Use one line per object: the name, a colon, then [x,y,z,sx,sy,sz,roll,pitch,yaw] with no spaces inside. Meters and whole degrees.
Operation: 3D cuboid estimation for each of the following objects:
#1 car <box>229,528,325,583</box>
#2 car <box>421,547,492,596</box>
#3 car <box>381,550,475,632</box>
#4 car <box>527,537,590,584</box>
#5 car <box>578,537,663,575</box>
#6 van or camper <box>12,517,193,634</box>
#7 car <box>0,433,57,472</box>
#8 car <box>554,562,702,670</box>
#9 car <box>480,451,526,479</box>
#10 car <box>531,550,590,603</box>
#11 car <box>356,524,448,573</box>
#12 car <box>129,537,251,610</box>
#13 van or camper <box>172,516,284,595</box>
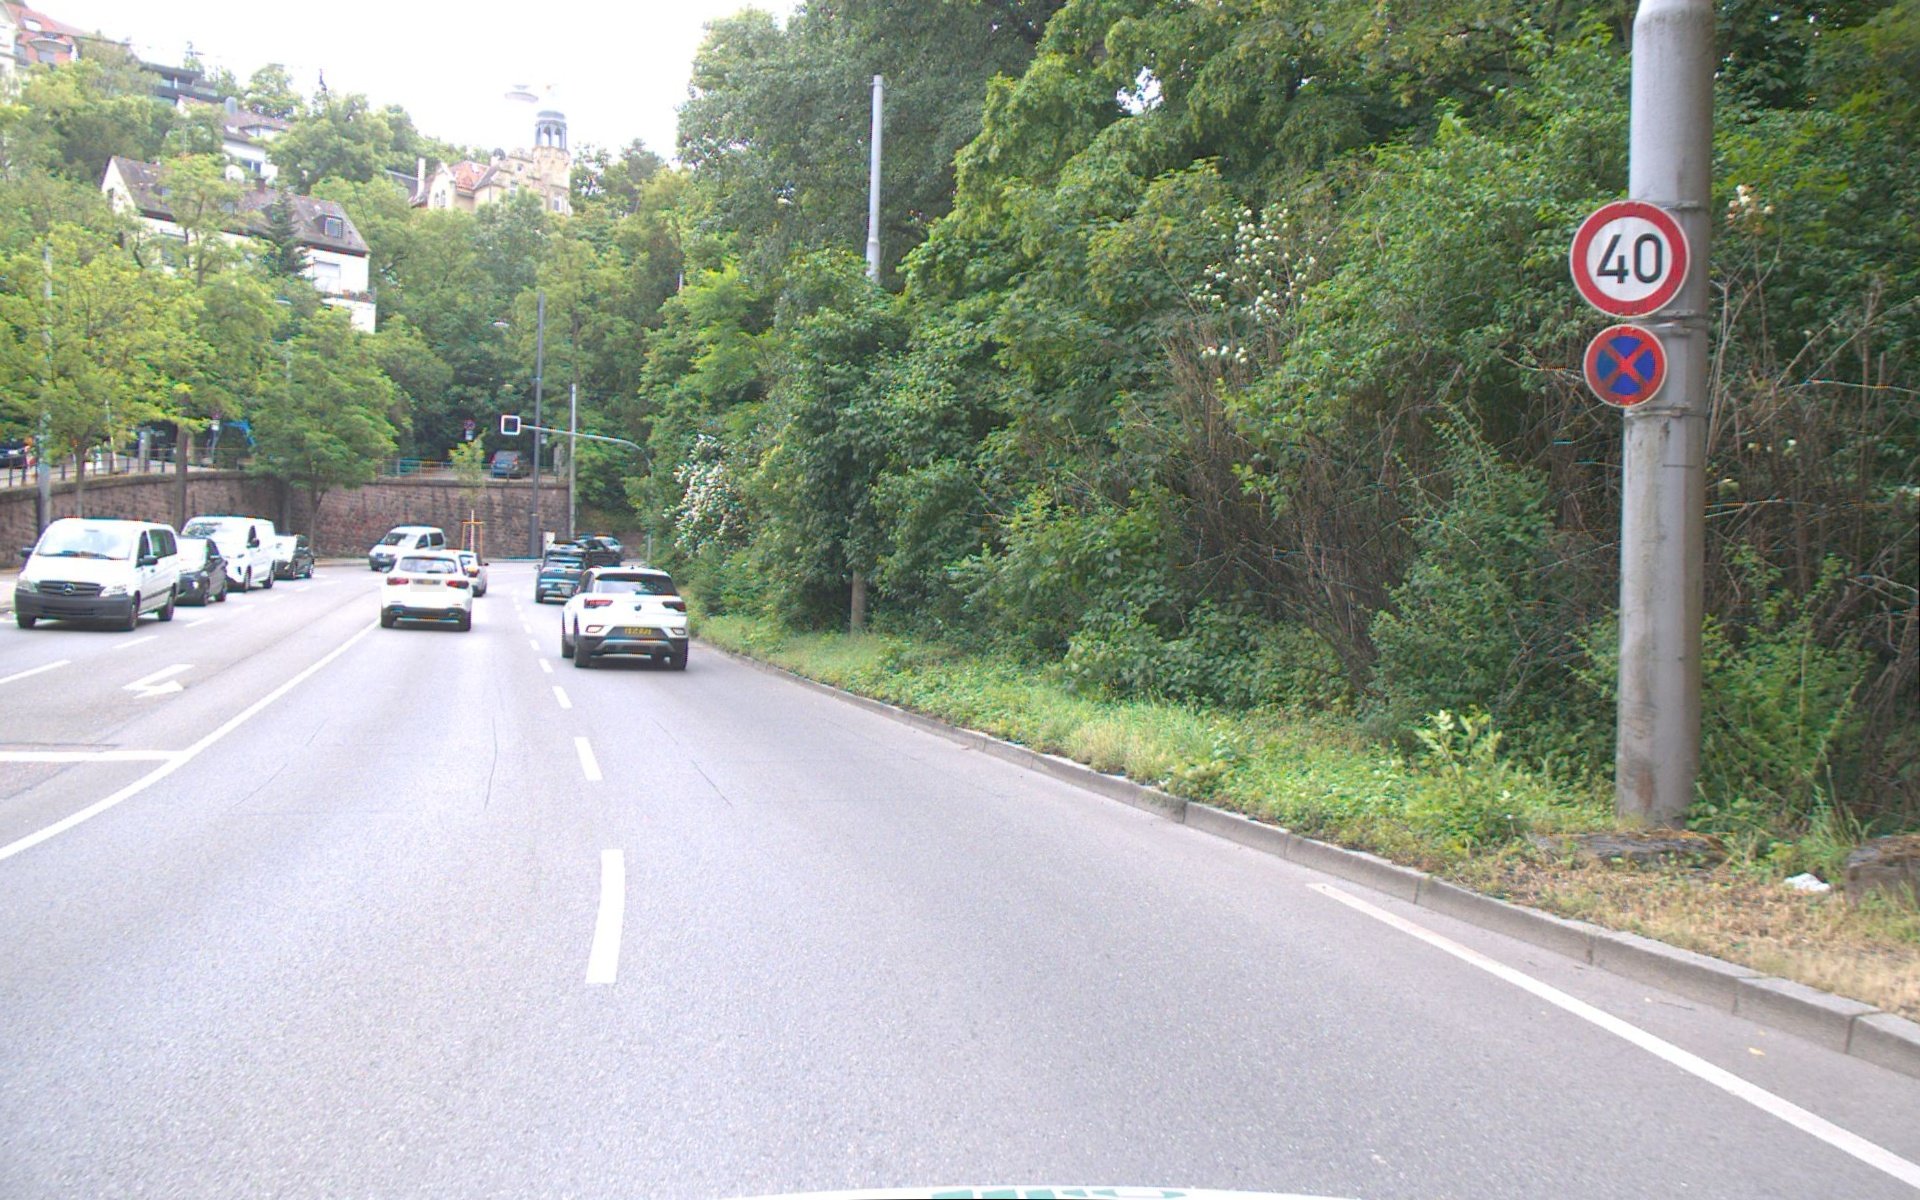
car: [-23.362,-1.570,56.754,1.957,1.645,4.322,5,2,-9]
car: [-17.125,-0.999,56.292,2.212,1.545,4.288,1,2,-17]
car: [-11.624,-0.221,36.273,1.847,1.680,4.320,0,1,-17]
car: [-18.335,-1.804,75.672,2.147,2.049,3.996,-1,1,-5]
car: [-17.380,-2.252,84.819,1.909,1.722,4.280,5,2,28]
van or camper: [-15.861,-0.492,30.895,1.962,1.928,5.432,2,1,-17]
car: [-36.335,-5.647,63.573,1.521,1.301,3.596,0,2,-5]
car: [-5.479,0.236,26.960,1.836,1.583,3.873,2,0,-19]
car: [-26.947,-7.982,97.658,1.955,1.511,3.998,1,5,-6]
car: [-13.401,-0.792,55.361,1.830,1.660,3.943,-1,1,-15]
car: [-23.364,-2.131,69.407,1.905,1.829,4.288,4,1,6]
car: [-18.108,-0.649,39.066,1.961,1.547,3.974,3,1,-16]
van or camper: [-20.786,-1.286,47.186,1.960,2.048,5.542,2,1,-14]
